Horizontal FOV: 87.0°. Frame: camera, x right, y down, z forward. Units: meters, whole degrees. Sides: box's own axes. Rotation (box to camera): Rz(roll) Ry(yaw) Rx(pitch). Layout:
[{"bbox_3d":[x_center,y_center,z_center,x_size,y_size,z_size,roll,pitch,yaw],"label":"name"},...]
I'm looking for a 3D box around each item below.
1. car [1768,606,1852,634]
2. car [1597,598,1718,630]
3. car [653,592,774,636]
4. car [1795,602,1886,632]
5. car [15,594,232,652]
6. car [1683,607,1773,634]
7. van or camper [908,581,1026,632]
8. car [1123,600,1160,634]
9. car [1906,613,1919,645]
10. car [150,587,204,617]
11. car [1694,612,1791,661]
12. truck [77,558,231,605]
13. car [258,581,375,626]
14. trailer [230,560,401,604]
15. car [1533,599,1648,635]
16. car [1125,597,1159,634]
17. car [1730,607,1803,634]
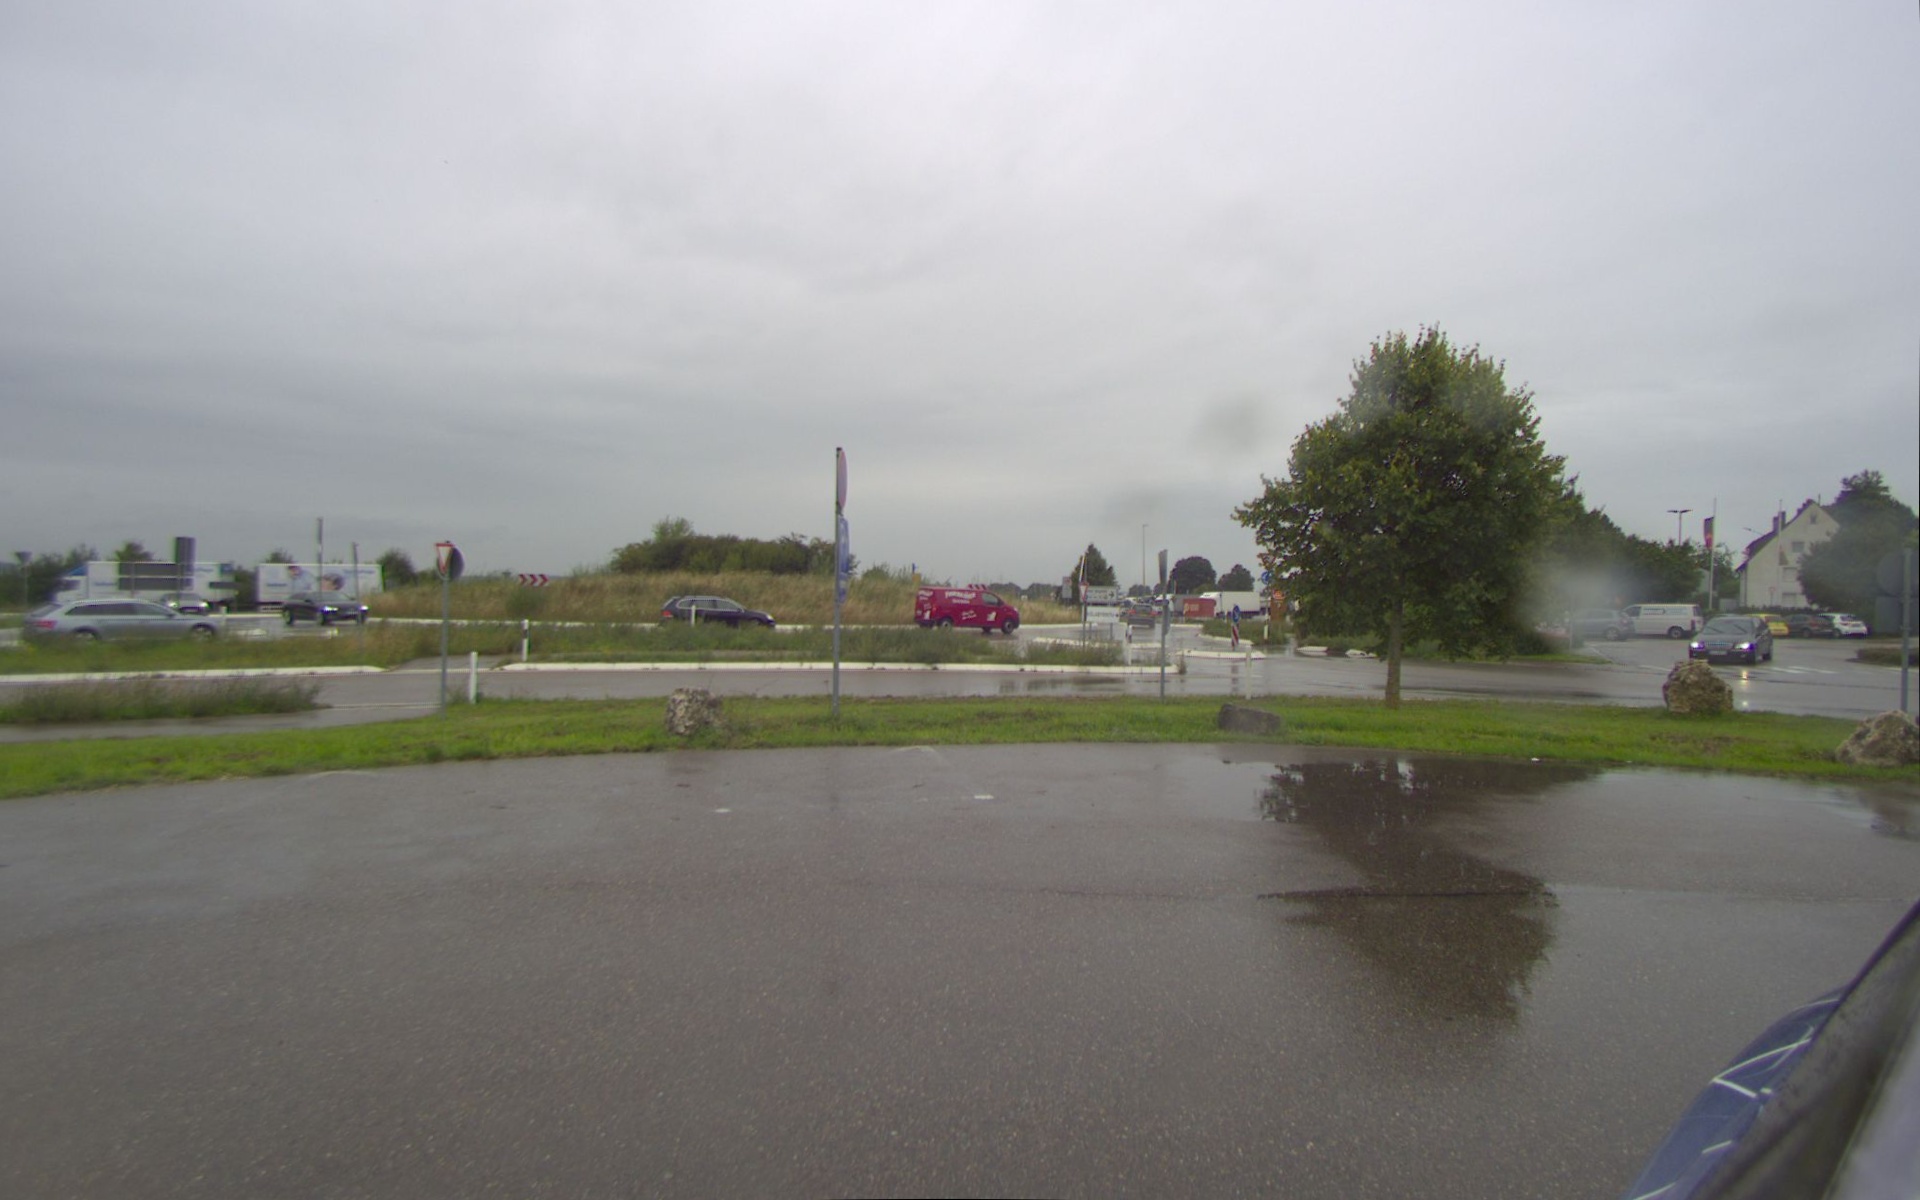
[{"bbox_3d":[51.279,1.189,61.120,1.716,1.590,3.889,0,-1,-1],"label":"car"},{"bbox_3d":[39.627,0.814,57.596,1.965,1.744,5.369,1,-1,-40],"label":"car"},{"bbox_3d":[-9.541,0.507,39.115,4.429,1.623,2.004,0,0,-16],"label":"car"},{"bbox_3d":[53.614,1.023,61.699,1.952,1.750,4.001,0,-1,-2],"label":"car"},{"bbox_3d":[-24.676,0.610,30.020,1.986,1.500,4.608,2,2,33],"label":"car"},{"bbox_3d":[46.371,1.252,61.264,1.963,1.570,4.645,0,-1,2],"label":"car"},{"bbox_3d":[0.326,0.289,44.127,4.750,2.038,2.003,1,2,-31],"label":"van or camper"},{"bbox_3d":[11.129,1.040,62.191,1.965,2.039,3.992,0,-1,6],"label":"car"},{"bbox_3d":[44.880,1.319,44.753,1.818,1.443,4.352,1,0,-41],"label":"car"},{"bbox_3d":[-41.299,0.082,53.340,1.728,1.341,4.298,-1,3,-45],"label":"car"},{"bbox_3d":[25.343,1.129,32.734,4.284,1.443,1.704,1,0,-41],"label":"car"},{"bbox_3d":[-52.798,-1.182,66.516,7.627,2.945,2.188,0,-1,-20],"label":"truck"},{"bbox_3d":[-27.692,0.116,43.554,4.612,1.704,1.881,2,2,20],"label":"car"},{"bbox_3d":[-44.794,-1.162,70.681,9.946,2.939,2.207,0,-1,-34],"label":"trailer"},{"bbox_3d":[32.021,0.858,51.500,1.965,1.744,4.602,1,-1,-40],"label":"car"},{"bbox_3d":[11.216,0.905,62.212,1.969,2.038,3.988,1,2,11],"label":"car"},{"bbox_3d":[48.881,1.229,61.425,1.636,1.569,3.721,0,-1,4],"label":"car"}]
